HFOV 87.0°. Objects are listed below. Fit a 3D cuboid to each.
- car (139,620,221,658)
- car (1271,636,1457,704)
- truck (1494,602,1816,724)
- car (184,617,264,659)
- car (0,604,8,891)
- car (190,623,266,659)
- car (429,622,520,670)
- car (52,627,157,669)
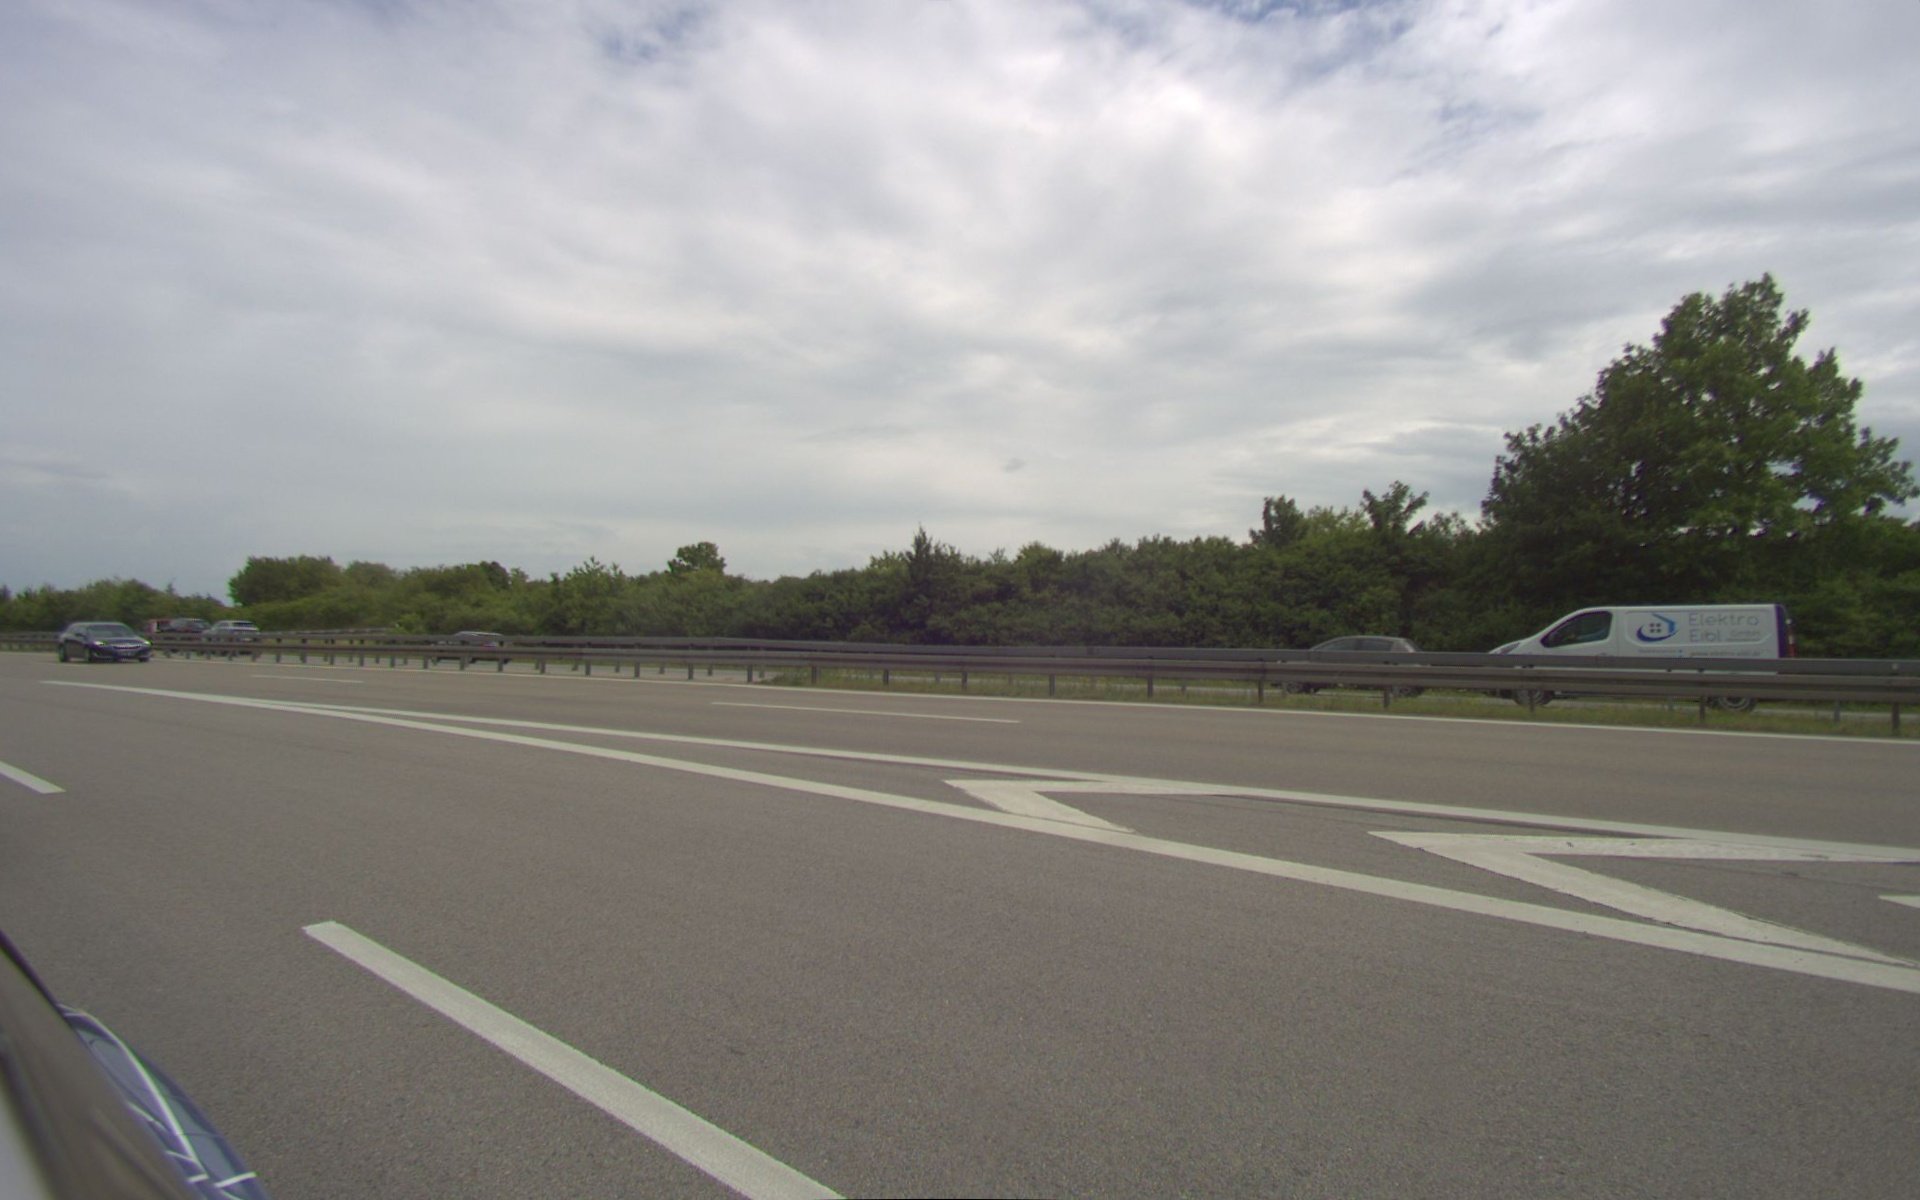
[{"bbox_3d":[-50.123,2.453,64.982,6.657,2.348,2.145,-1,-2,33],"label":"car"},{"bbox_3d":[10.084,1.686,25.313,3.990,1.530,1.976,-1,-2,35],"label":"car"},{"bbox_3d":[12.731,1.106,18.909,4.706,2.029,1.977,-1,-2,34],"label":"truck"},{"bbox_3d":[-37.343,1.912,51.350,3.988,2.029,1.978,-1,-2,33],"label":"car"},{"bbox_3d":[-7.177,0.802,5.795,4.021,1.509,1.827,-1,-1,36],"label":"car"},{"bbox_3d":[-44.484,2.464,61.454,4.860,2.149,2.145,-1,-2,33],"label":"car"},{"bbox_3d":[-22.426,2.080,46.714,3.987,2.029,1.978,-1,0,32],"label":"car"},{"bbox_3d":[-31.364,1.724,37.048,4.785,1.435,1.707,-1,-2,34],"label":"car"}]
